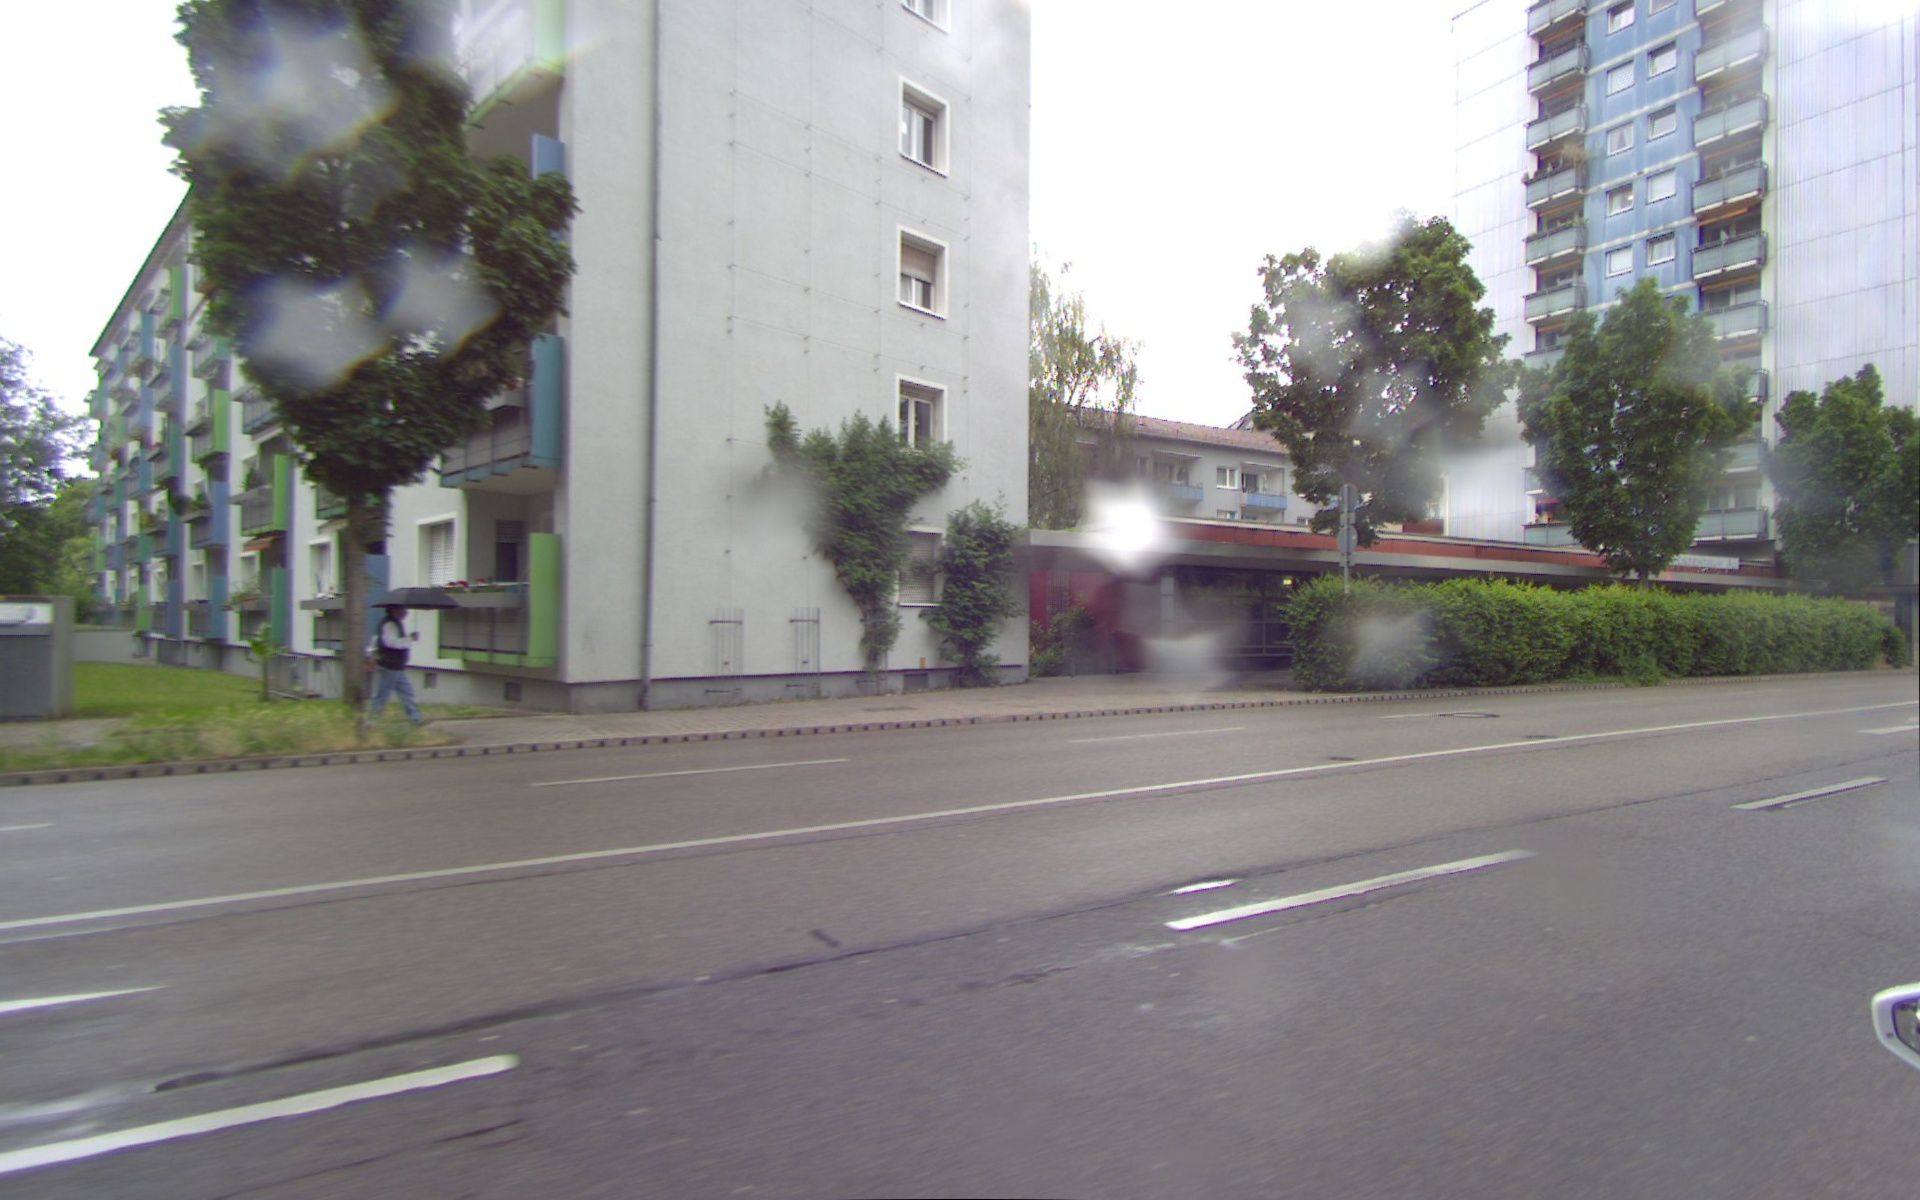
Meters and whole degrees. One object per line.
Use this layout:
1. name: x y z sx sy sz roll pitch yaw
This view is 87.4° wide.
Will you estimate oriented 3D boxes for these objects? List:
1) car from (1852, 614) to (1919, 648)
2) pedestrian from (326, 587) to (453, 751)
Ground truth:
1. car: 47.561 1.560 51.161 4.460 1.677 1.983 1 -1 -32
2. pedestrian: -6.831 0.786 12.020 1.250 1.828 1.127 0 -1 -34
